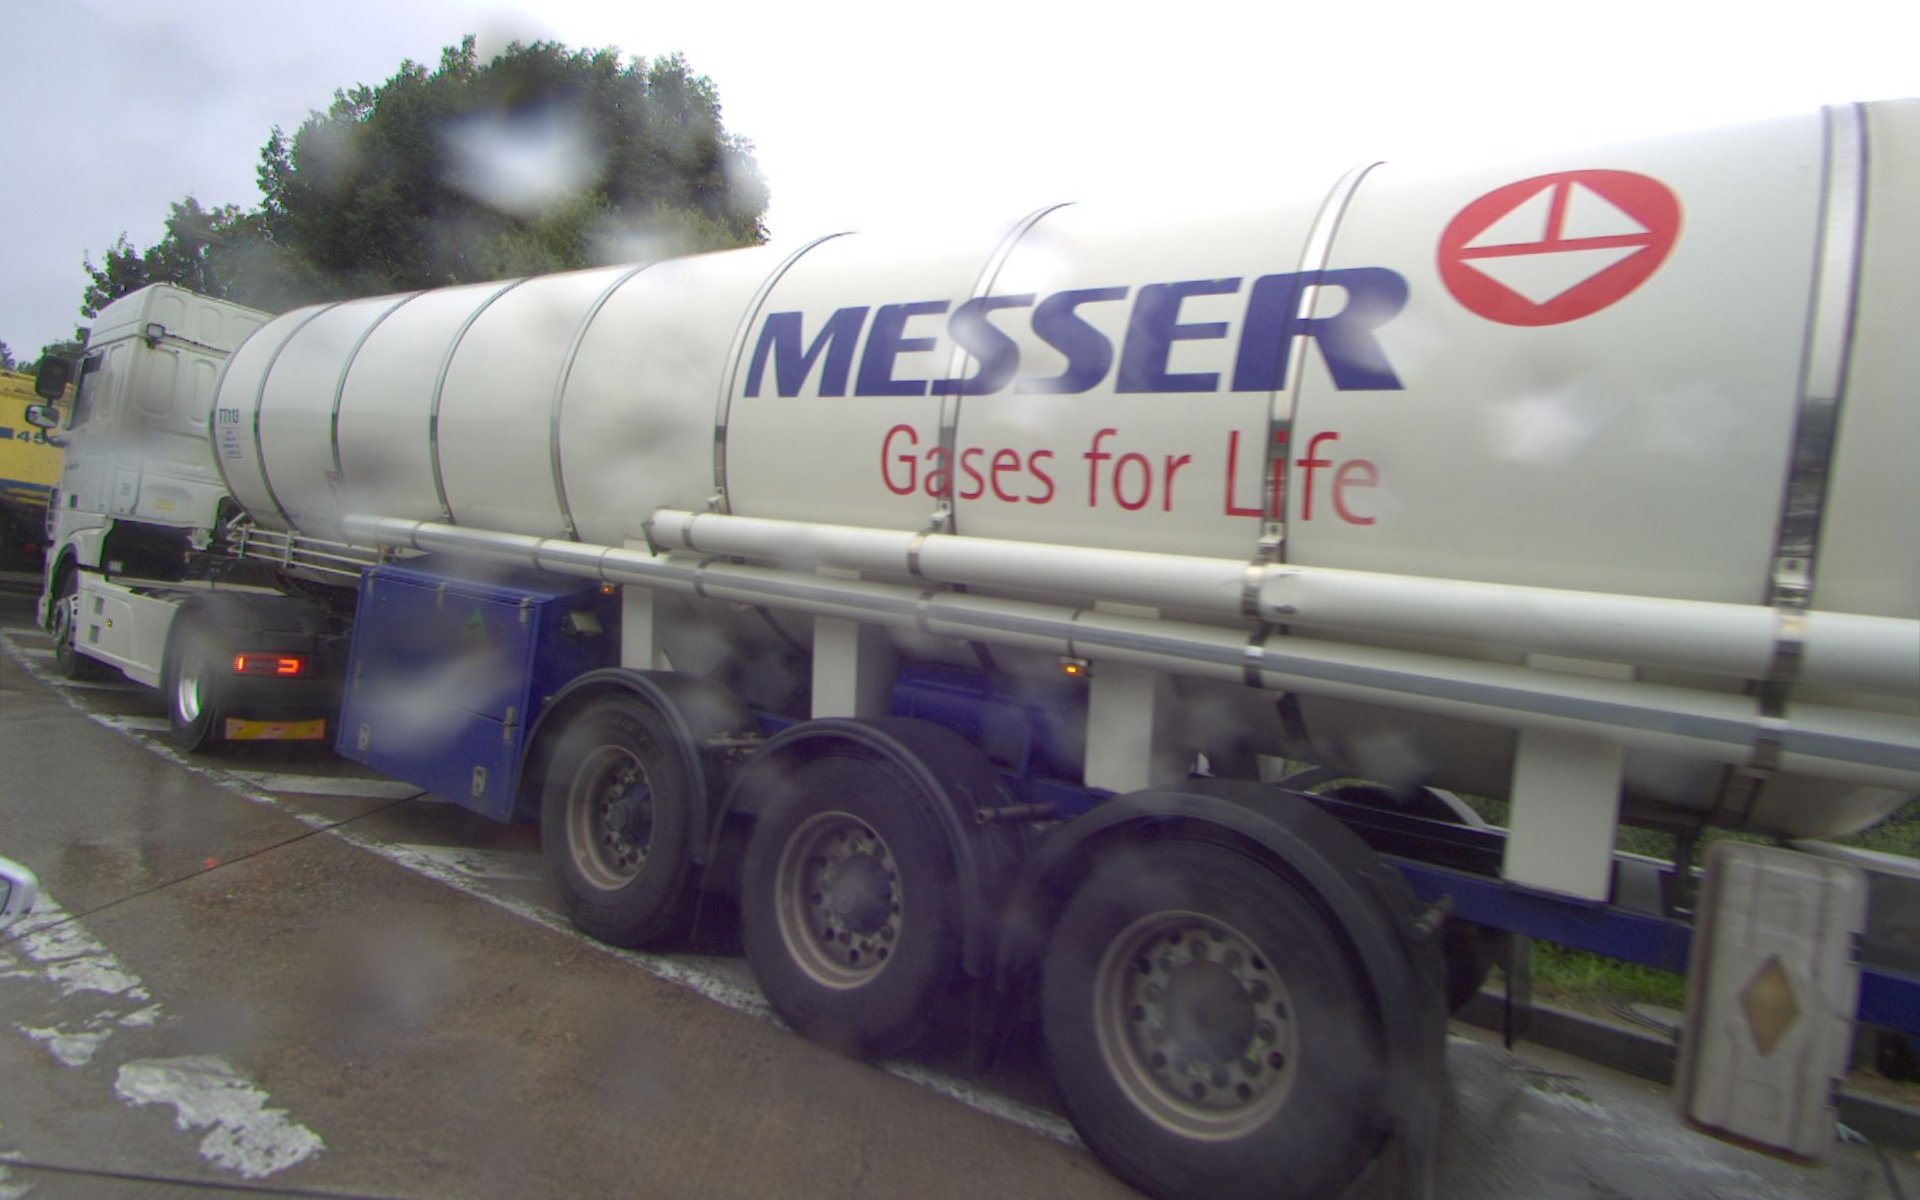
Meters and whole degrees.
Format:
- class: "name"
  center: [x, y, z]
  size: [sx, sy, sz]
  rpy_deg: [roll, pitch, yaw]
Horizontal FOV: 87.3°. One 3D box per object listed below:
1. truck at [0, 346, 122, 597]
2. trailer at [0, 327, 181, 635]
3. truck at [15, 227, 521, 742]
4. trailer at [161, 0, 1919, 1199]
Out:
- class: "truck"
  center: [-16.774, -2.251, 17.843]
  size: [4.087, 3.873, 2.177]
  rpy_deg: [6, -1, 44]
- class: "trailer"
  center: [-13.552, -1.656, 14.639]
  size: [7.465, 3.432, 2.179]
  rpy_deg: [6, -1, 44]
- class: "truck"
  center: [-6.414, -0.874, 9.139]
  size: [4.576, 3.554, 2.147]
  rpy_deg: [6, -1, 37]
- class: "trailer"
  center: [-1.095, -0.260, 5.285]
  size: [10.097, 3.481, 2.132]
  rpy_deg: [6, -1, 37]
